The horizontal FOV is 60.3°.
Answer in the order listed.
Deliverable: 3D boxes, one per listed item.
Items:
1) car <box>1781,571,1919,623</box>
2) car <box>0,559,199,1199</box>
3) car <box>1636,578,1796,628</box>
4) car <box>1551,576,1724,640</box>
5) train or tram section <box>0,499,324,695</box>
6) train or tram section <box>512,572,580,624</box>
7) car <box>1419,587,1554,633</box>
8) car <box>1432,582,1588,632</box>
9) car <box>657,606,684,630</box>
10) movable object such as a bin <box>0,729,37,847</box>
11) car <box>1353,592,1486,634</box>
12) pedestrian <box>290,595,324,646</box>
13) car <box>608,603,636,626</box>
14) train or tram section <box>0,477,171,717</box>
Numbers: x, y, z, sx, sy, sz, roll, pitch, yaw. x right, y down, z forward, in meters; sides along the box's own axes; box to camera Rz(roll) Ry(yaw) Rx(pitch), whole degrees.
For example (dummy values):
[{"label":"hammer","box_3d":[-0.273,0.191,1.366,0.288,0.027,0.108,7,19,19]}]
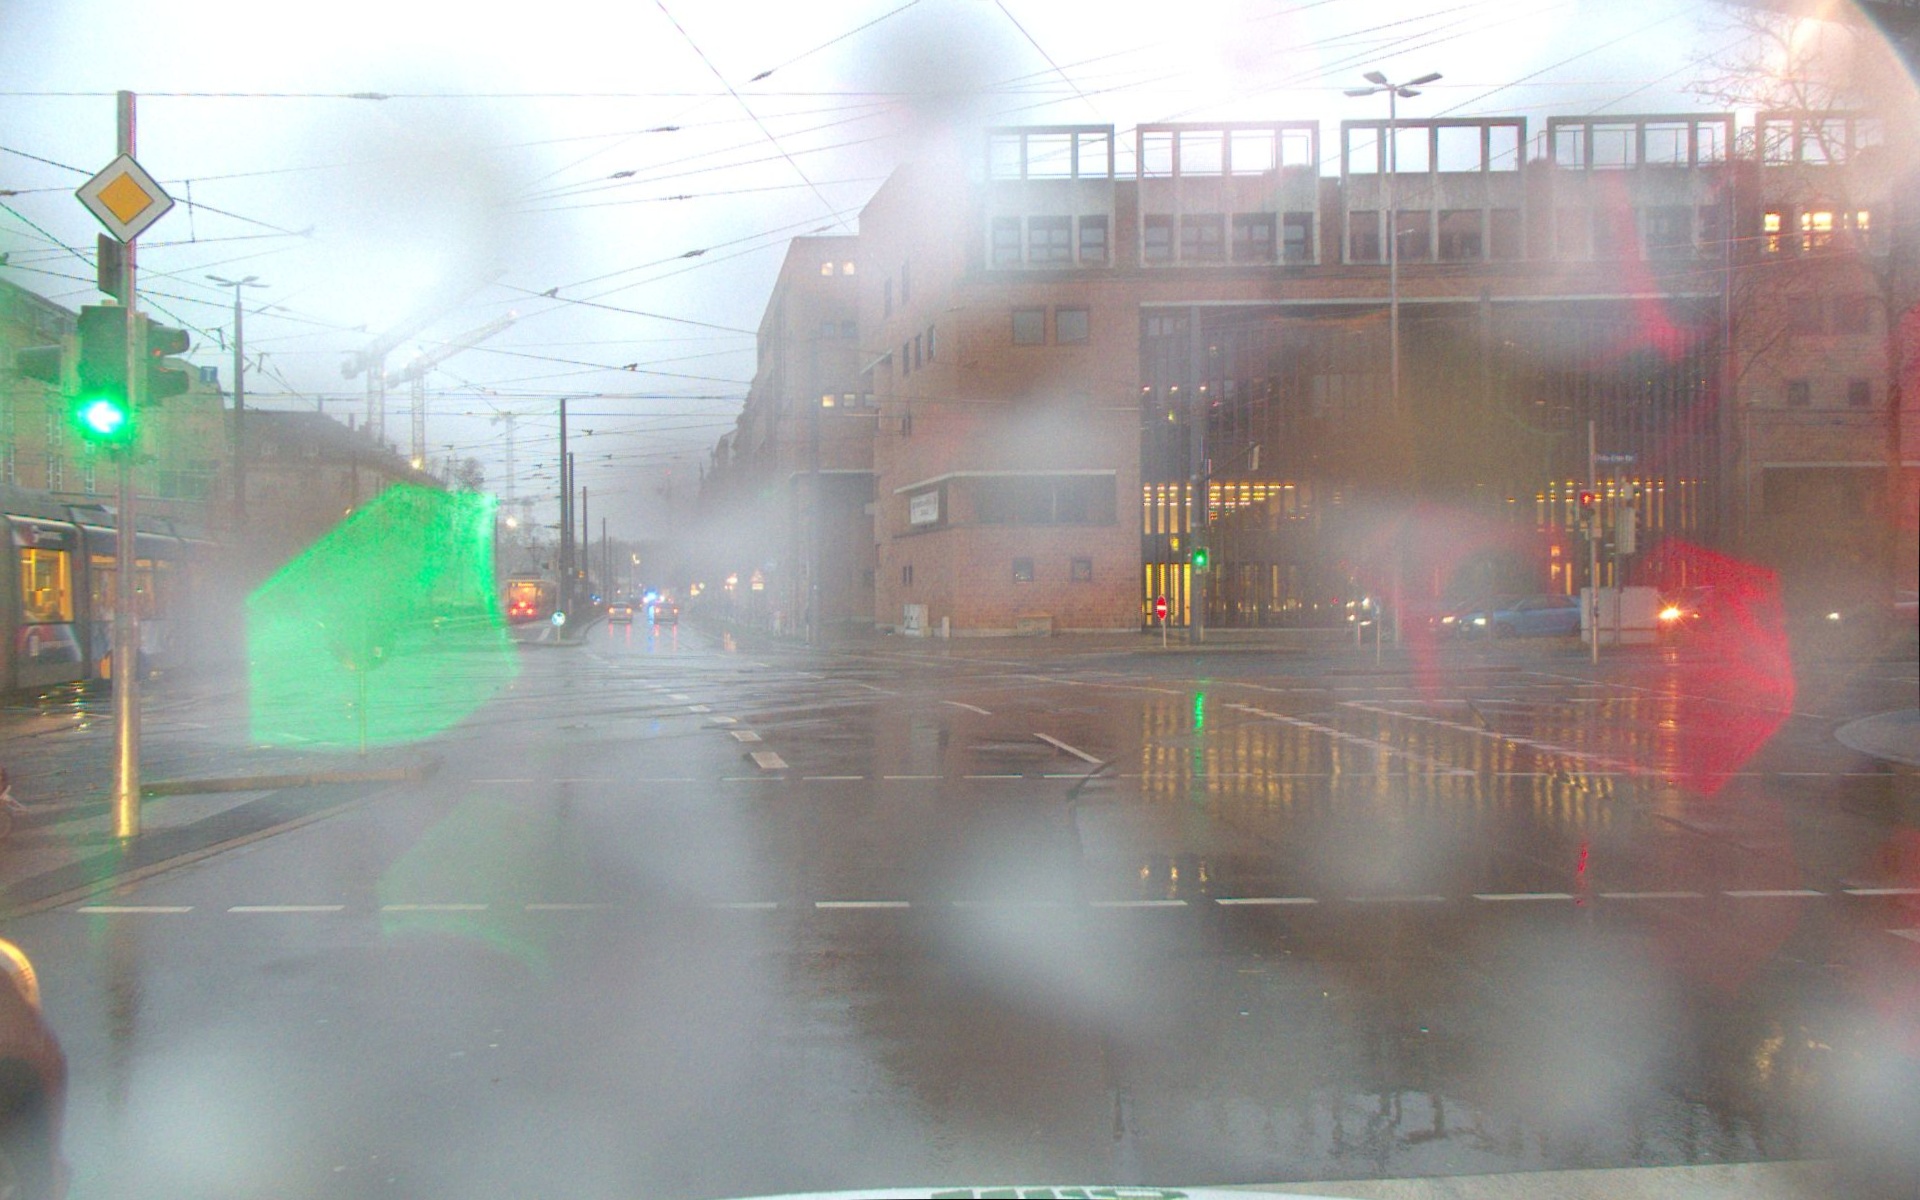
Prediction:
[{"label":"car","box_3d":[29.333,-0.104,54.232,3.910,1.530,1.846,-1,4,-7]},{"label":"car","box_3d":[-2.528,0.683,1.804,1.663,1.485,3.757,-1,0,0]},{"label":"car","box_3d":[22.349,0.073,48.959,3.910,1.310,1.846,-1,4,-7]},{"label":"car","box_3d":[18.230,0.191,44.609,3.910,1.530,1.846,-1,4,-7]},{"label":"train or tram section","box_3d":[-18.913,-0.060,40.785,2.814,3.677,19.157,-1,0,-11]},{"label":"train or tram section","box_3d":[-31.022,-0.120,125.036,3.133,3.496,27.760,-1,0,-10]},{"label":"car","box_3d":[16.603,0.297,52.250,3.649,1.284,1.846,-1,4,-7]},{"label":"car","box_3d":[15.977,0.192,48.154,3.910,1.284,1.846,-1,4,-7]},{"label":"car","box_3d":[-21.410,1.326,122.384,1.836,1.606,3.992,2,0,-9]},{"label":"movable object such as a bin","box_3d":[-6.122,1.180,10.302,0.405,0.711,0.535,-3,-2,40]},{"label":"car","box_3d":[15.538,0.428,56.061,3.909,1.333,1.998,-1,0,-5]},{"label":"pedestrian","box_3d":[-26.394,0.818,66.879,0.959,2.049,0.835,0,0,14]},{"label":"car","box_3d":[-24.646,1.043,120.664,1.837,1.606,3.990,2,0,-10]},{"label":"train or tram section","box_3d":[-15.768,-0.024,23.053,2.811,3.677,20.031,-1,0,-8]}]
